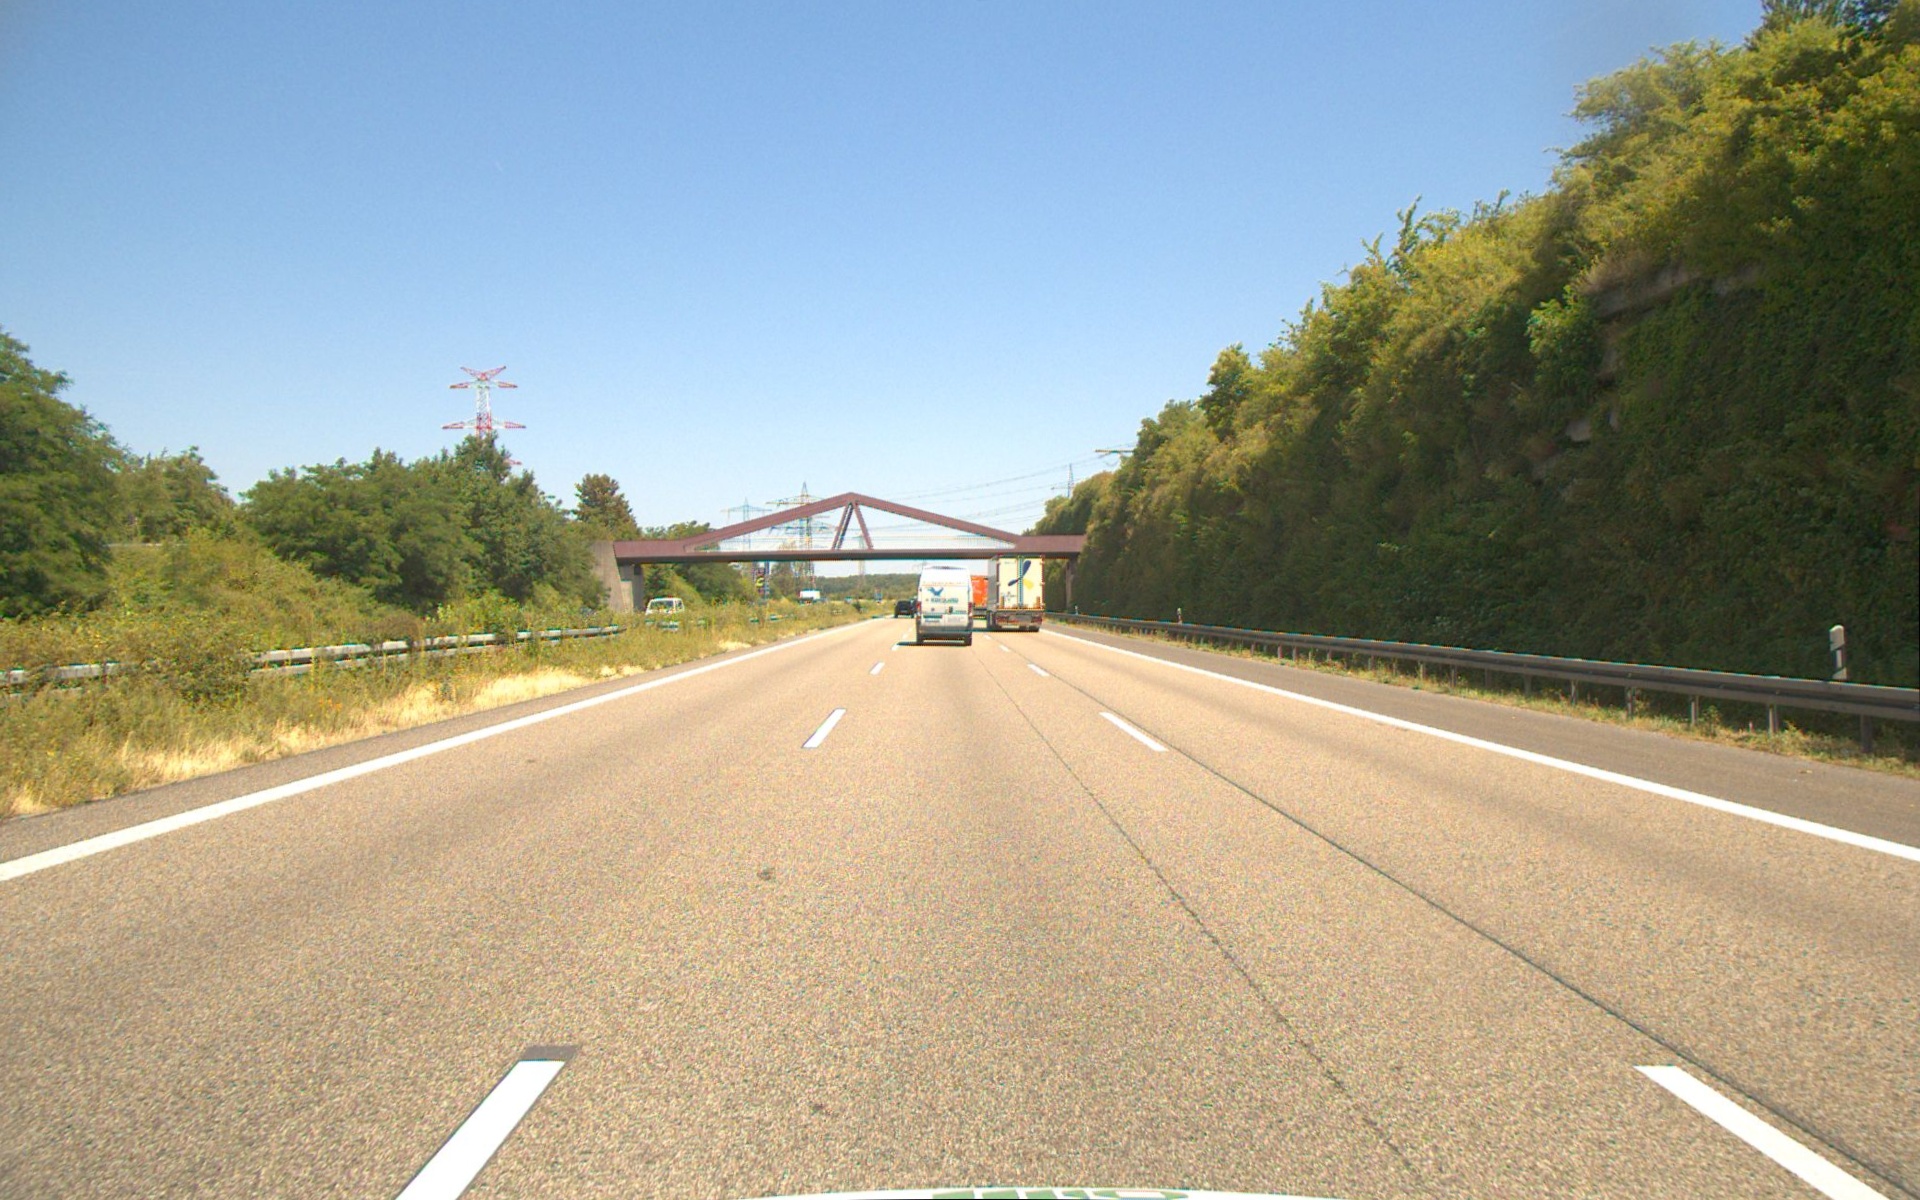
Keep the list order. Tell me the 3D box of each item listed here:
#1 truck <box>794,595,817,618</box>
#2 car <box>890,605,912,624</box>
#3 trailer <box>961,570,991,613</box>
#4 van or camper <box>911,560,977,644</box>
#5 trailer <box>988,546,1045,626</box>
[{"bbox_3d":[-24.434,1.003,261.586,2.751,3.599,10.185,-2,0,-1],"label":"truck"},{"bbox_3d":[-5.830,1.416,164.737,1.942,1.849,3.813,2,0,1],"label":"car"},{"bbox_3d":[1.471,-0.780,157.133,2.584,3.965,7.067,2,0,0],"label":"trailer"},{"bbox_3d":[-0.609,0.058,59.934,2.185,2.831,5.421,2,0,-1],"label":"van or camper"},{"bbox_3d":[3.053,-0.722,93.031,2.584,4.131,12.364,2,0,0],"label":"trailer"}]
